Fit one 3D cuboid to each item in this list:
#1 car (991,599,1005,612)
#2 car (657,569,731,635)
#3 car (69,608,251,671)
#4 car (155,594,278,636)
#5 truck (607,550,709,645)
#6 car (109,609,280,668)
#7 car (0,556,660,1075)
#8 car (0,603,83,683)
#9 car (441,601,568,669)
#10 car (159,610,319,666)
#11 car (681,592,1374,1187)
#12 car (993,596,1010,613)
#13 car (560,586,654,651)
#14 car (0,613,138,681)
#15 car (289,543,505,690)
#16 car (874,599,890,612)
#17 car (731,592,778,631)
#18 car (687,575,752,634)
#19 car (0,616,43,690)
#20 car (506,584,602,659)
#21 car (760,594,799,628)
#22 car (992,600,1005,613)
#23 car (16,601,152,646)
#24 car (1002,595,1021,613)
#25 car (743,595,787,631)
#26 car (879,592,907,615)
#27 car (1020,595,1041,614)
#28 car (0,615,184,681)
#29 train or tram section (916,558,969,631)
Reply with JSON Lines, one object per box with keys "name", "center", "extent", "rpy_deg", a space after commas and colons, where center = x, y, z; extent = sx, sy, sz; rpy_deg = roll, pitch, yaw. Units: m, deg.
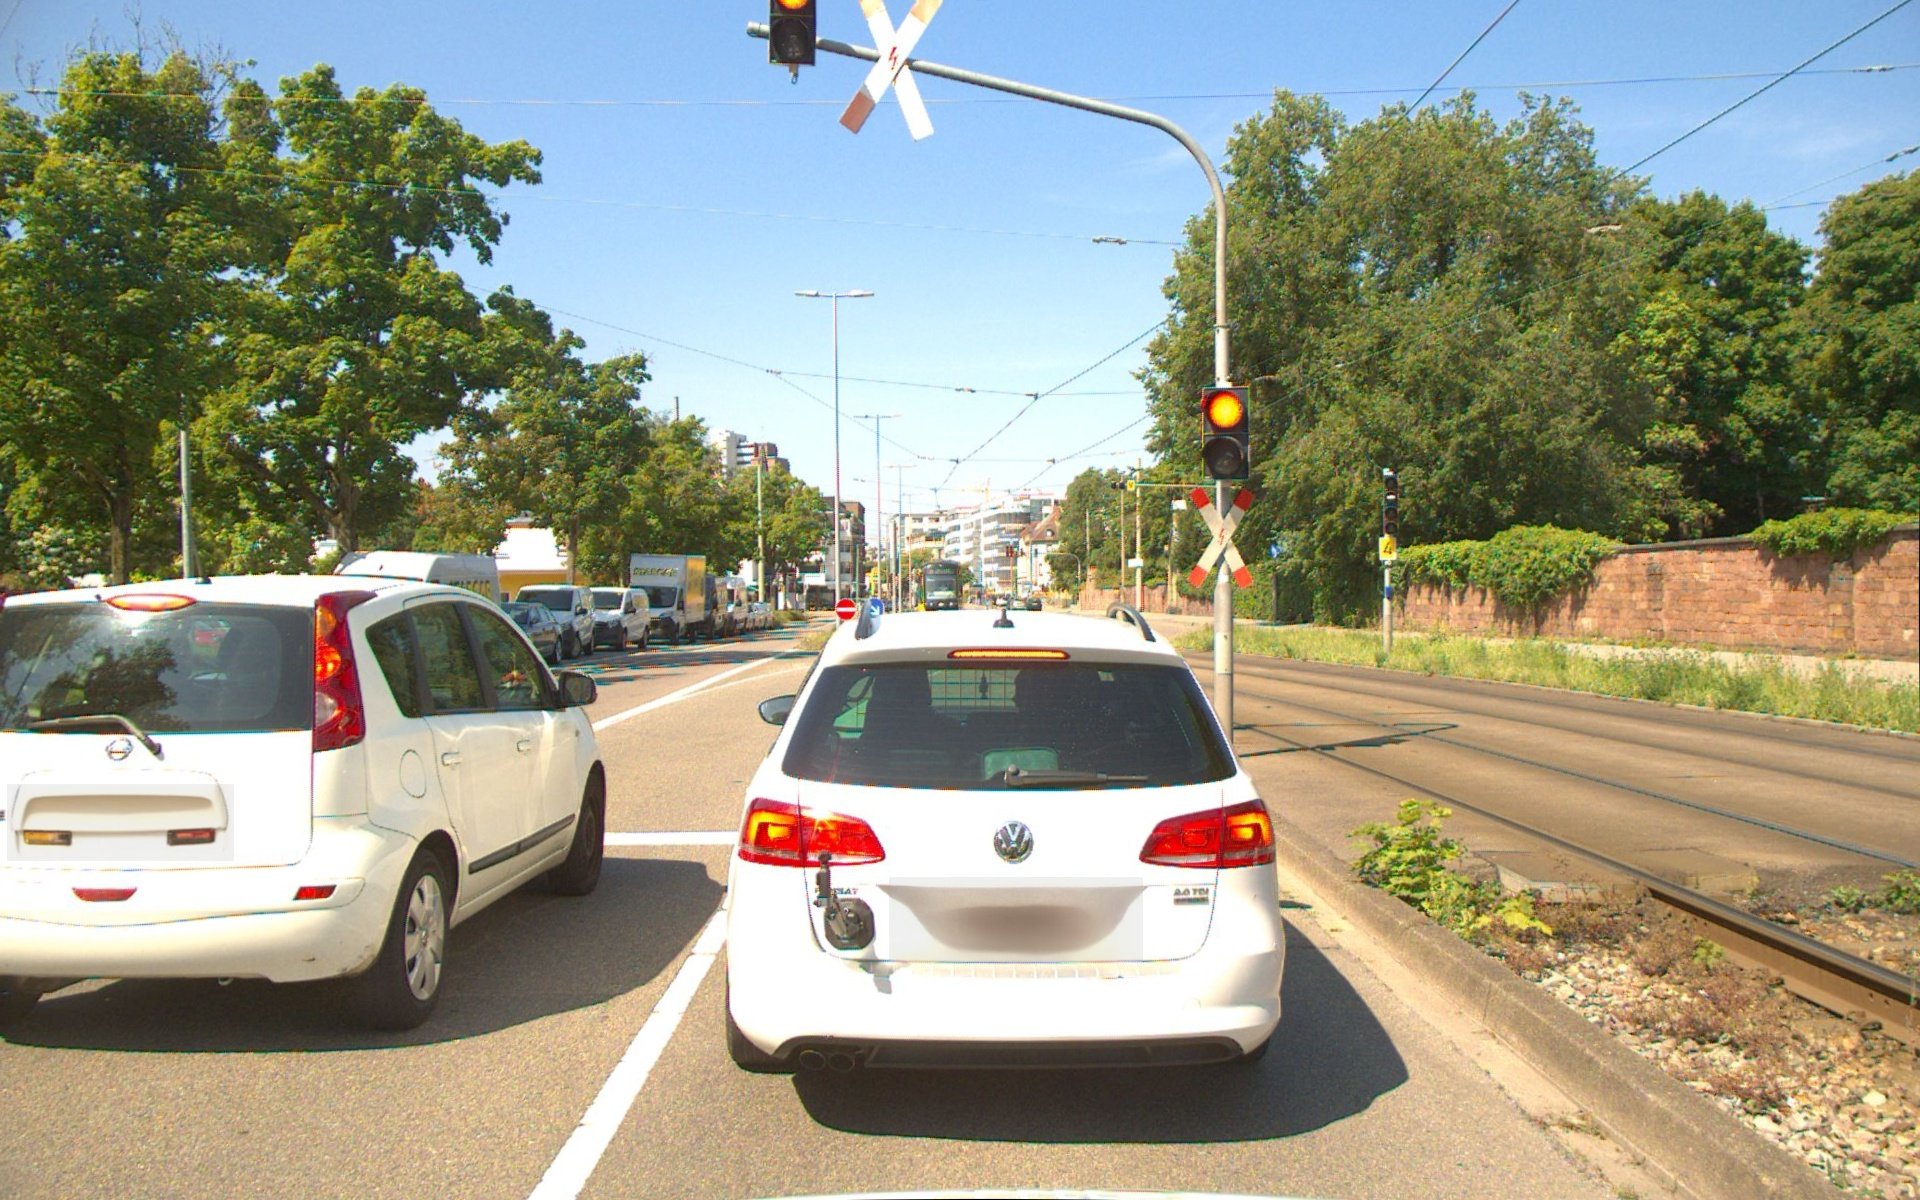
{"name": "car", "center": [5.503, 0.773, 239.218], "extent": [1.826, 1.900, 5.060], "rpy_deg": [1, 0, -2]}
{"name": "car", "center": [-10.914, 0.076, 68.144], "extent": [2.079, 2.560, 5.733], "rpy_deg": [1, 0, 0]}
{"name": "car", "center": [-21.111, 1.031, 43.780], "extent": [3.909, 1.440, 1.728], "rpy_deg": [-2, 0, -5]}
{"name": "car", "center": [-34.385, 0.679, 76.575], "extent": [4.698, 1.819, 2.062], "rpy_deg": [1, 0, -5]}
{"name": "truck", "center": [-10.873, -0.102, 60.146], "extent": [2.371, 3.205, 6.996], "rpy_deg": [1, 0, 0]}
{"name": "car", "center": [-21.289, 1.064, 46.107], "extent": [3.909, 1.440, 1.728], "rpy_deg": [-2, 0, -5]}
{"name": "car", "center": [-2.560, 0.643, 7.299], "extent": [1.628, 1.575, 4.546], "rpy_deg": [0, 0, 0]}
{"name": "car", "center": [-21.078, 0.968, 35.114], "extent": [3.909, 1.638, 1.728], "rpy_deg": [-2, 0, -5]}
{"name": "car", "center": [-10.512, 0.775, 38.469], "extent": [1.826, 1.440, 4.278], "rpy_deg": [1, 0, -1]}
{"name": "car", "center": [-21.278, 1.109, 48.925], "extent": [3.909, 1.440, 1.728], "rpy_deg": [-2, 0, -5]}
{"name": "car", "center": [0.145, 0.719, 6.184], "extent": [1.726, 1.455, 3.999], "rpy_deg": [-1, 0, -1]}
{"name": "car", "center": [5.022, 0.526, 200.300], "extent": [1.826, 1.900, 5.060], "rpy_deg": [1, 0, -2]}
{"name": "car", "center": [-10.967, 0.536, 51.721], "extent": [1.826, 1.900, 5.412], "rpy_deg": [1, 0, -1]}
{"name": "car", "center": [-21.618, 1.121, 38.631], "extent": [3.909, 1.440, 1.728], "rpy_deg": [-2, 0, -5]}
{"name": "car", "center": [-10.747, 0.280, 32.125], "extent": [2.079, 2.560, 5.817], "rpy_deg": [1, 0, 1]}
{"name": "car", "center": [-9.427, 0.662, 199.980], "extent": [1.672, 1.499, 4.584], "rpy_deg": [-1, 0, -5]}
{"name": "car", "center": [-10.492, 0.552, 84.694], "extent": [1.826, 1.900, 5.412], "rpy_deg": [1, 0, -1]}
{"name": "car", "center": [-10.946, 0.195, 75.580], "extent": [2.079, 2.560, 5.733], "rpy_deg": [1, 0, 0]}
{"name": "car", "center": [-20.734, 1.127, 32.920], "extent": [3.909, 1.440, 1.728], "rpy_deg": [-2, 0, -5]}
{"name": "car", "center": [-11.014, 0.537, 45.133], "extent": [1.828, 1.900, 5.068], "rpy_deg": [1, 0, -6]}
{"name": "car", "center": [-10.708, 0.640, 98.422], "extent": [1.826, 1.900, 5.412], "rpy_deg": [1, 0, -1]}
{"name": "car", "center": [5.977, 0.964, 257.966], "extent": [1.826, 1.900, 5.060], "rpy_deg": [1, 0, -2]}
{"name": "car", "center": [-37.759, 0.995, 71.377], "extent": [4.698, 1.819, 2.062], "rpy_deg": [1, 0, -5]}
{"name": "car", "center": [5.757, 0.469, 184.977], "extent": [1.826, 1.900, 5.060], "rpy_deg": [1, 0, -2]}
{"name": "car", "center": [-10.763, 0.703, 91.504], "extent": [1.826, 1.900, 5.412], "rpy_deg": [1, 0, -1]}
{"name": "car", "center": [-4.541, 0.216, 112.334], "extent": [1.670, 1.499, 4.589], "rpy_deg": [-1, 0, 0]}
{"name": "car", "center": [7.173, 0.450, 168.679], "extent": [1.826, 1.900, 5.060], "rpy_deg": [1, 0, -2]}
{"name": "car", "center": [-21.734, 1.174, 41.238], "extent": [3.909, 1.440, 1.728], "rpy_deg": [-2, 0, -5]}
{"name": "train or tram section", "center": [-1.066, -0.333, 97.341], "extent": [2.812, 3.923, 12.389], "rpy_deg": [-1, 0, -1]}
